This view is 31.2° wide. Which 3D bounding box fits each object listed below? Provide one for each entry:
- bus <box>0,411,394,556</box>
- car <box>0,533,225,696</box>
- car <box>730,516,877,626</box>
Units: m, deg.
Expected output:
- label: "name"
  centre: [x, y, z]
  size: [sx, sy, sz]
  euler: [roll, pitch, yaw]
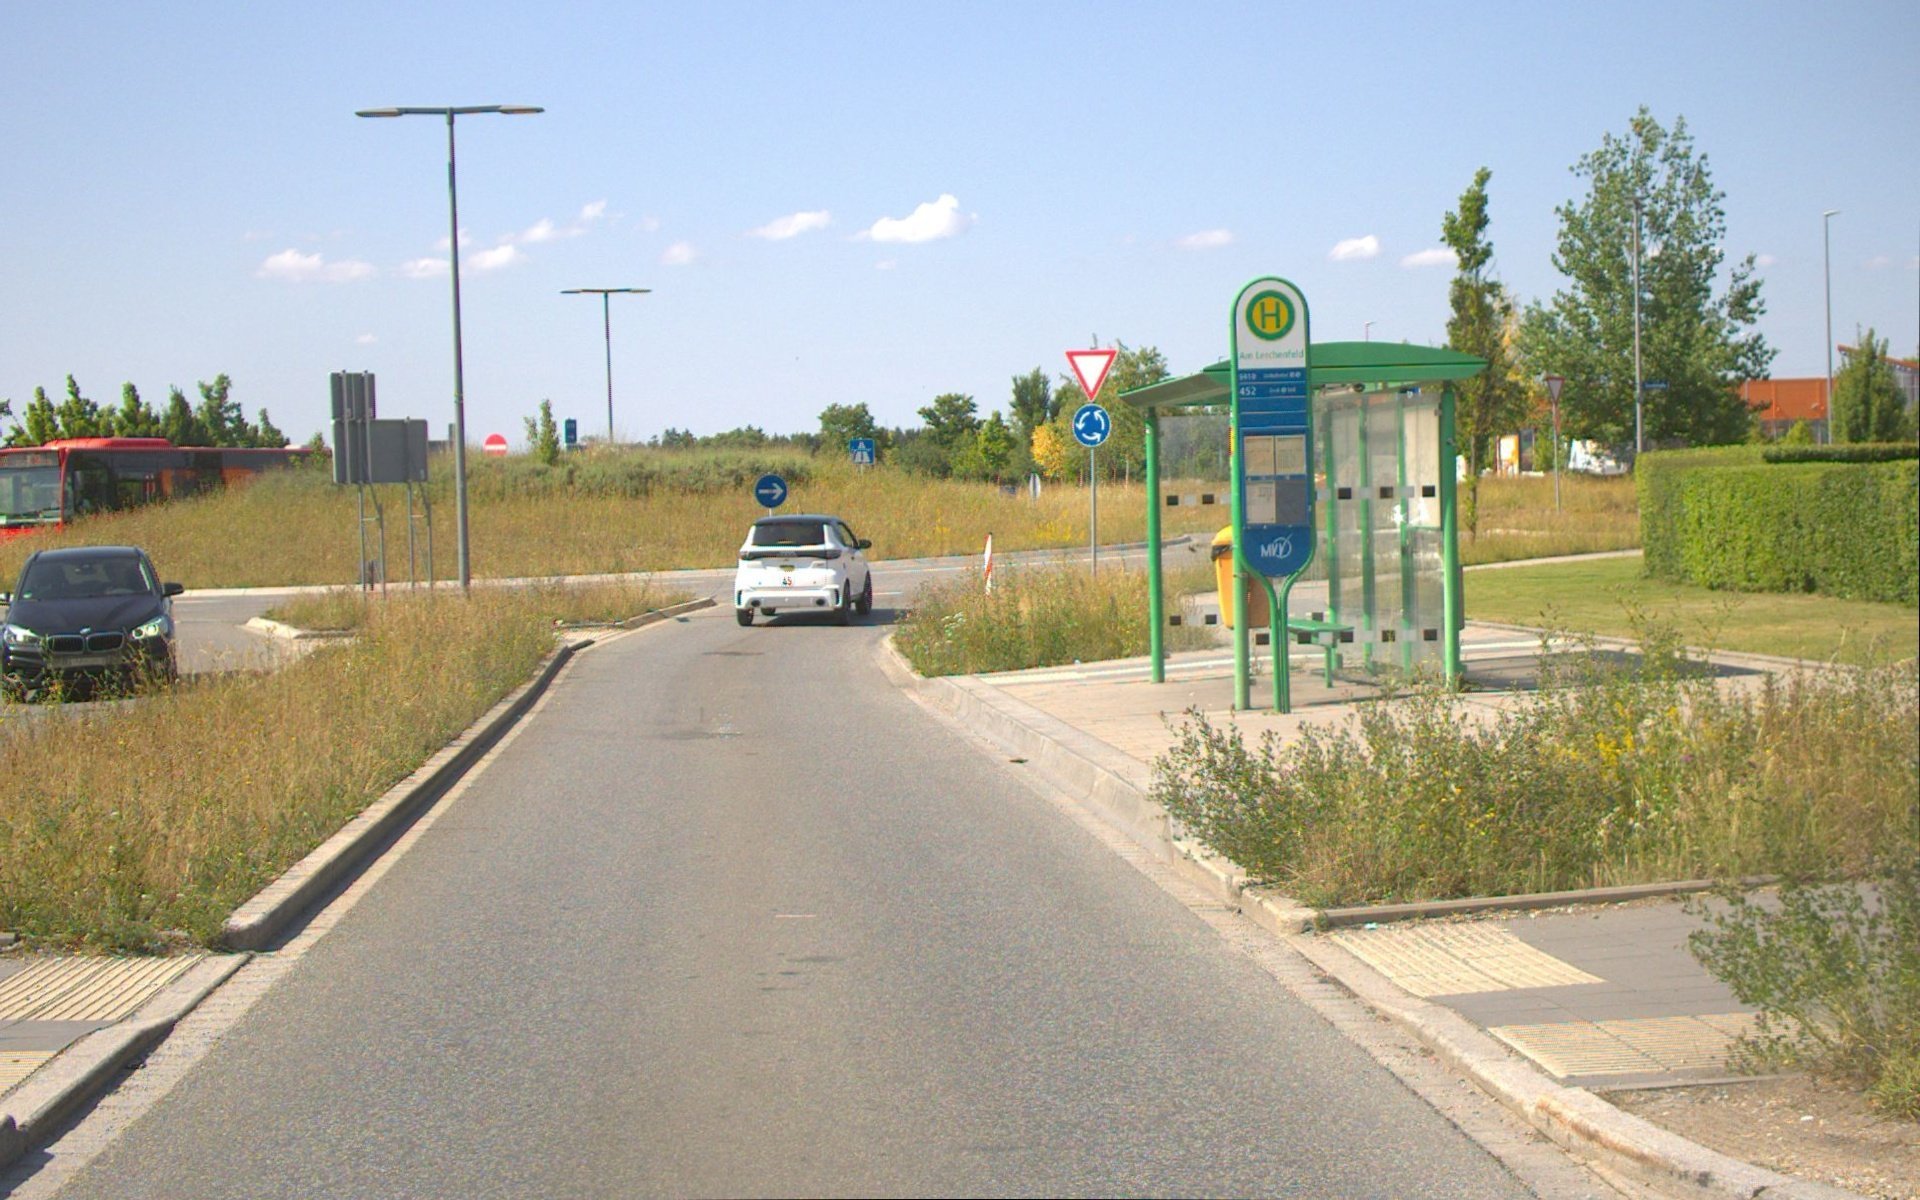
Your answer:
- label: "bus"
  centre: [-19.131, -3.012, 85.935]
  size: [2.791, 3.068, 12.186]
  euler: [-1, 4, 29]
- label: "car"
  centre: [-9.210, 0.110, 37.295]
  size: [1.758, 1.538, 4.241]
  euler: [-4, 2, -4]
- label: "car"
  centre: [-2.119, -0.428, 47.529]
  size: [1.616, 1.429, 3.792]
  euler: [-1, 1, 3]
